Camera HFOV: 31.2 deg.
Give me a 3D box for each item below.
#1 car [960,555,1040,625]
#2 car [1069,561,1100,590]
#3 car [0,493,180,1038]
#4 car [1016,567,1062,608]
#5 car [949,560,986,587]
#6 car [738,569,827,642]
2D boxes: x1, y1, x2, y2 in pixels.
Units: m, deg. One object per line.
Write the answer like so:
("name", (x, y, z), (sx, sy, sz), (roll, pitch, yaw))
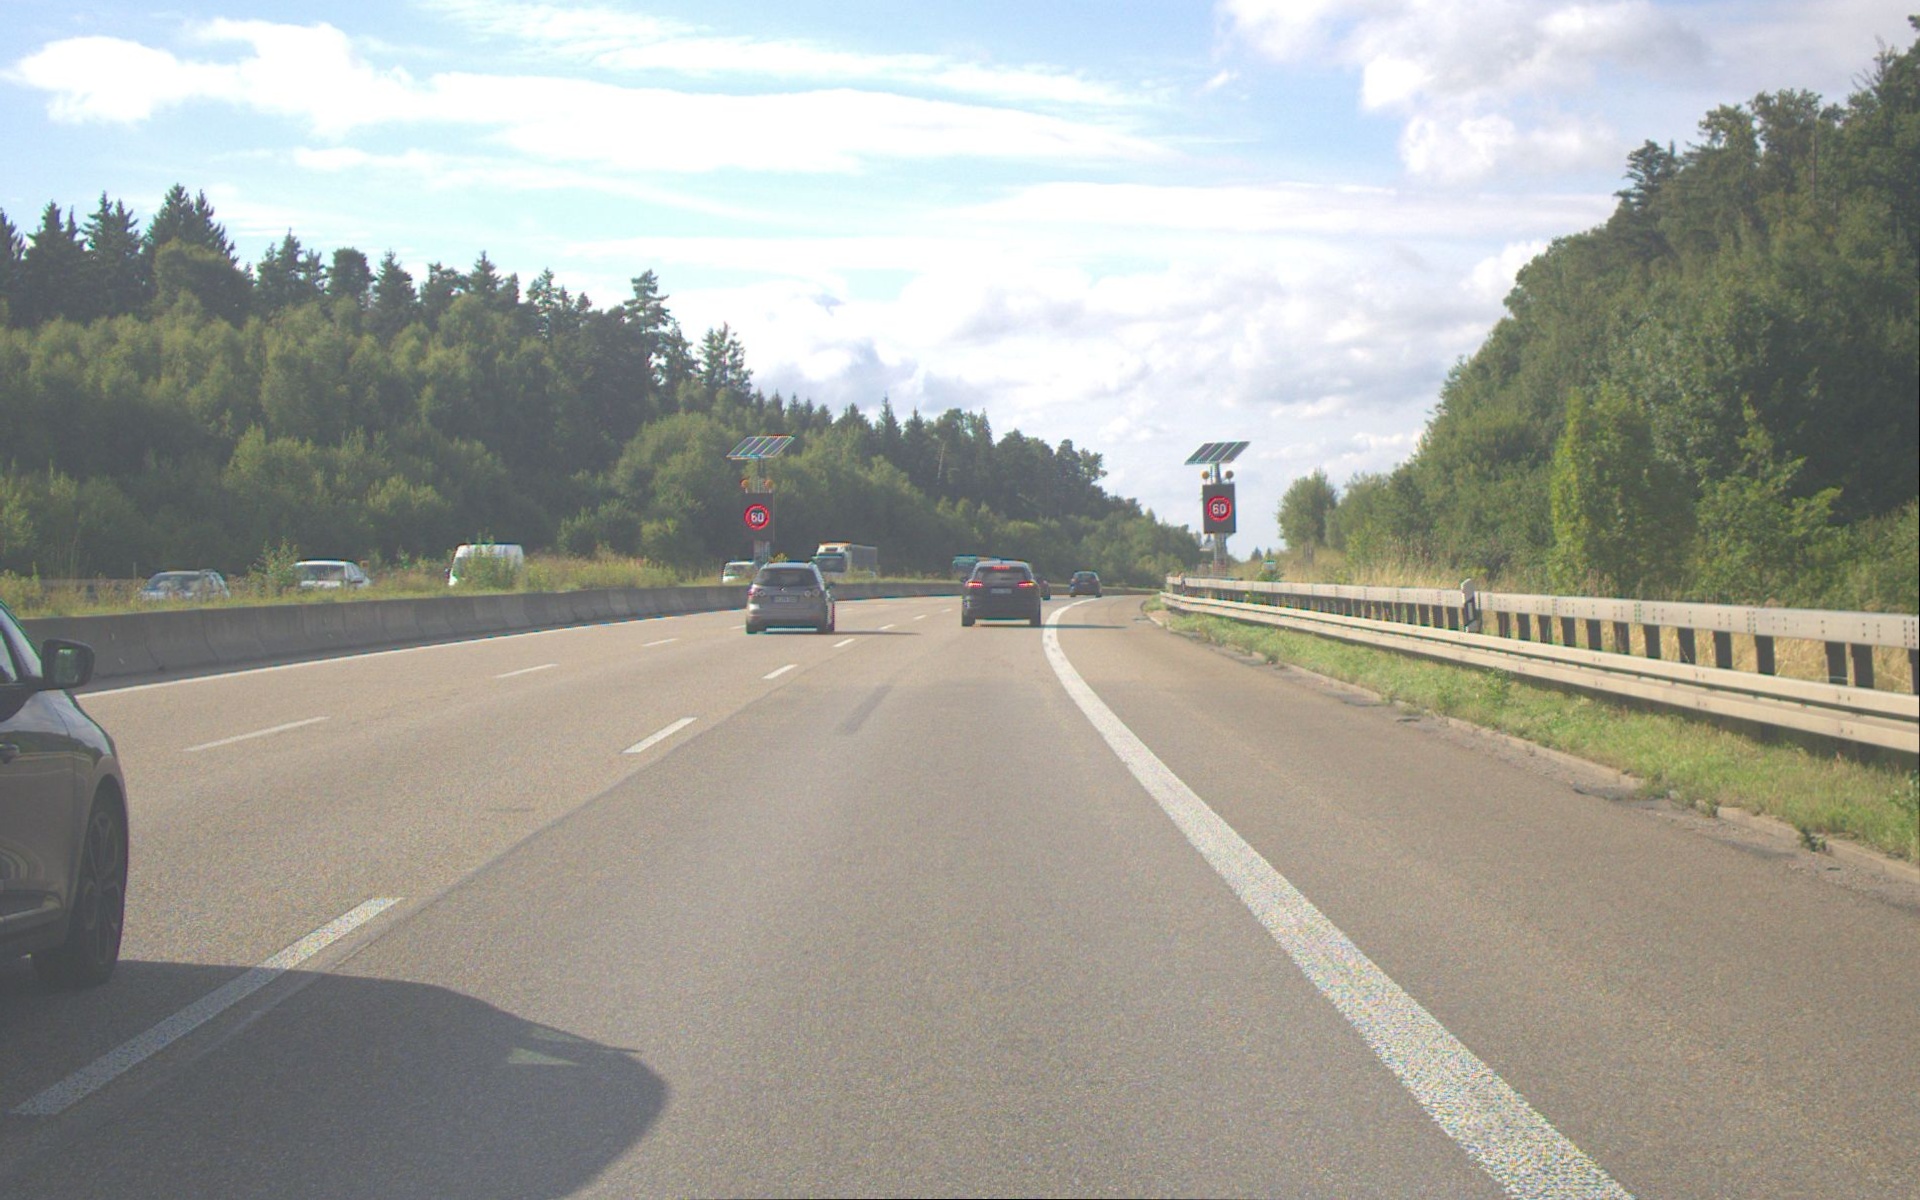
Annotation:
("car", (0.967, -0.269, 85.309), (1.873, 1.669, 3.890), (0, 1, -1))
("car", (7.384, -1.453, 203.381), (1.812, 1.700, 4.000), (0, 1, 3))
("car", (-3.996, 0.506, 11.106), (1.993, 1.701, 4.529), (0, 1, -1))
("car", (3.930, -0.636, 171.646), (1.993, 2.007, 4.001), (1, 1, -3))
("car", (0.447, -1.509, 197.899), (1.874, 1.492, 3.879), (0, 1, 3))
("car", (-3.860, 0.101, 75.329), (1.873, 1.492, 3.880), (0, 1, -2))
